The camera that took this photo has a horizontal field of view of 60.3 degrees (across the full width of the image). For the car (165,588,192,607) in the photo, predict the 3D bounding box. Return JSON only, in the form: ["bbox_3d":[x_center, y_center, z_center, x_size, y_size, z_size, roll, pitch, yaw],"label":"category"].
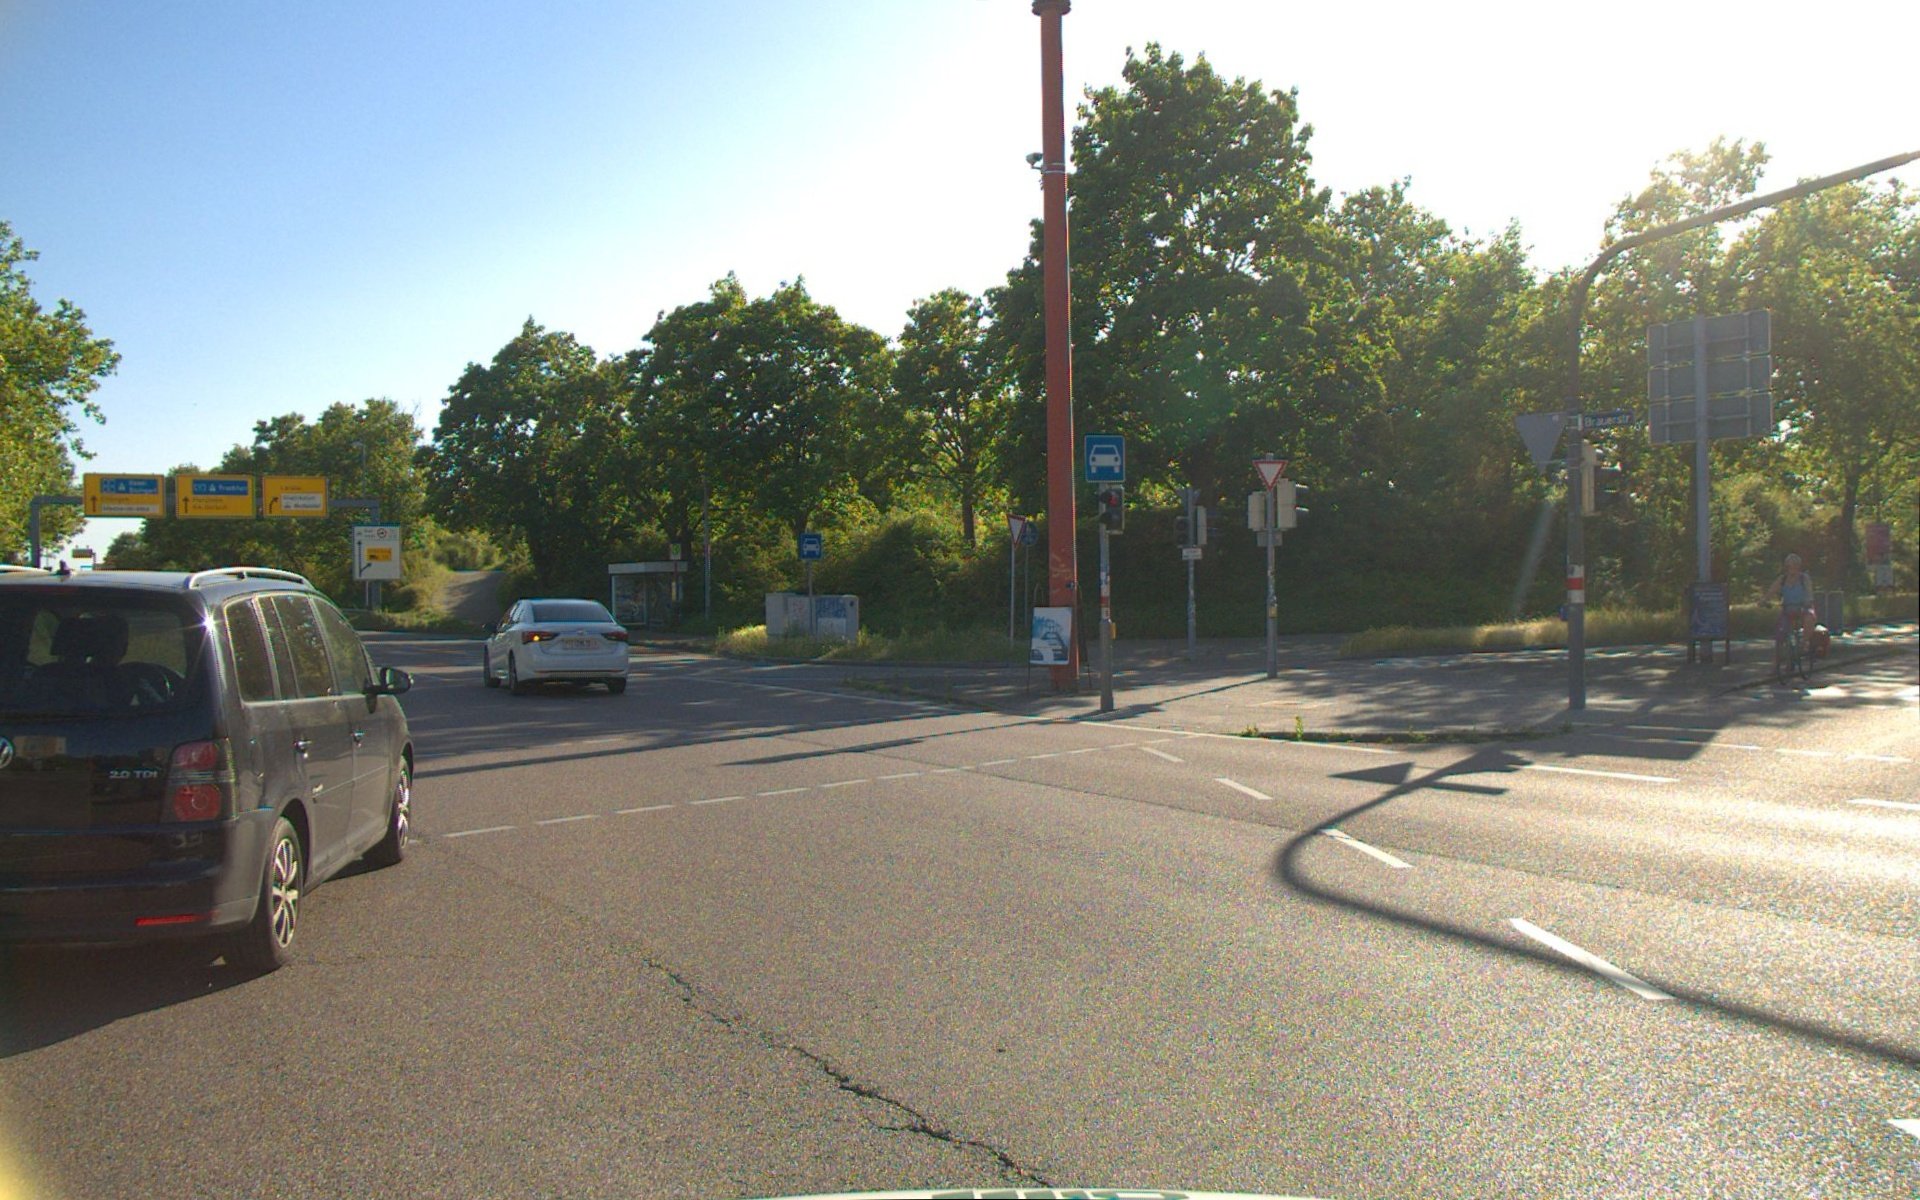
[{"bbox_3d":[-65.297,-0.199,138.164,1.748,1.489,4.324,-2,1,-29],"label":"car"}]

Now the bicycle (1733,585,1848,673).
[{"bbox_3d":[11.686,0.392,23.252,1.998,1.110,0.754,-3,2,-42],"label":"bicycle"}]

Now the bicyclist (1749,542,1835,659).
[{"bbox_3d":[11.725,-0.006,23.307,0.973,1.584,0.750,-3,1,-42],"label":"bicyclist"}]

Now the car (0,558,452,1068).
[{"bbox_3d":[-3.726,0.668,7.857,1.735,1.672,4.914,-1,1,-8],"label":"car"}]

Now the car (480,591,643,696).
[{"bbox_3d":[-6.532,0.629,26.785,1.745,1.489,4.332,-2,1,-25],"label":"car"}]
